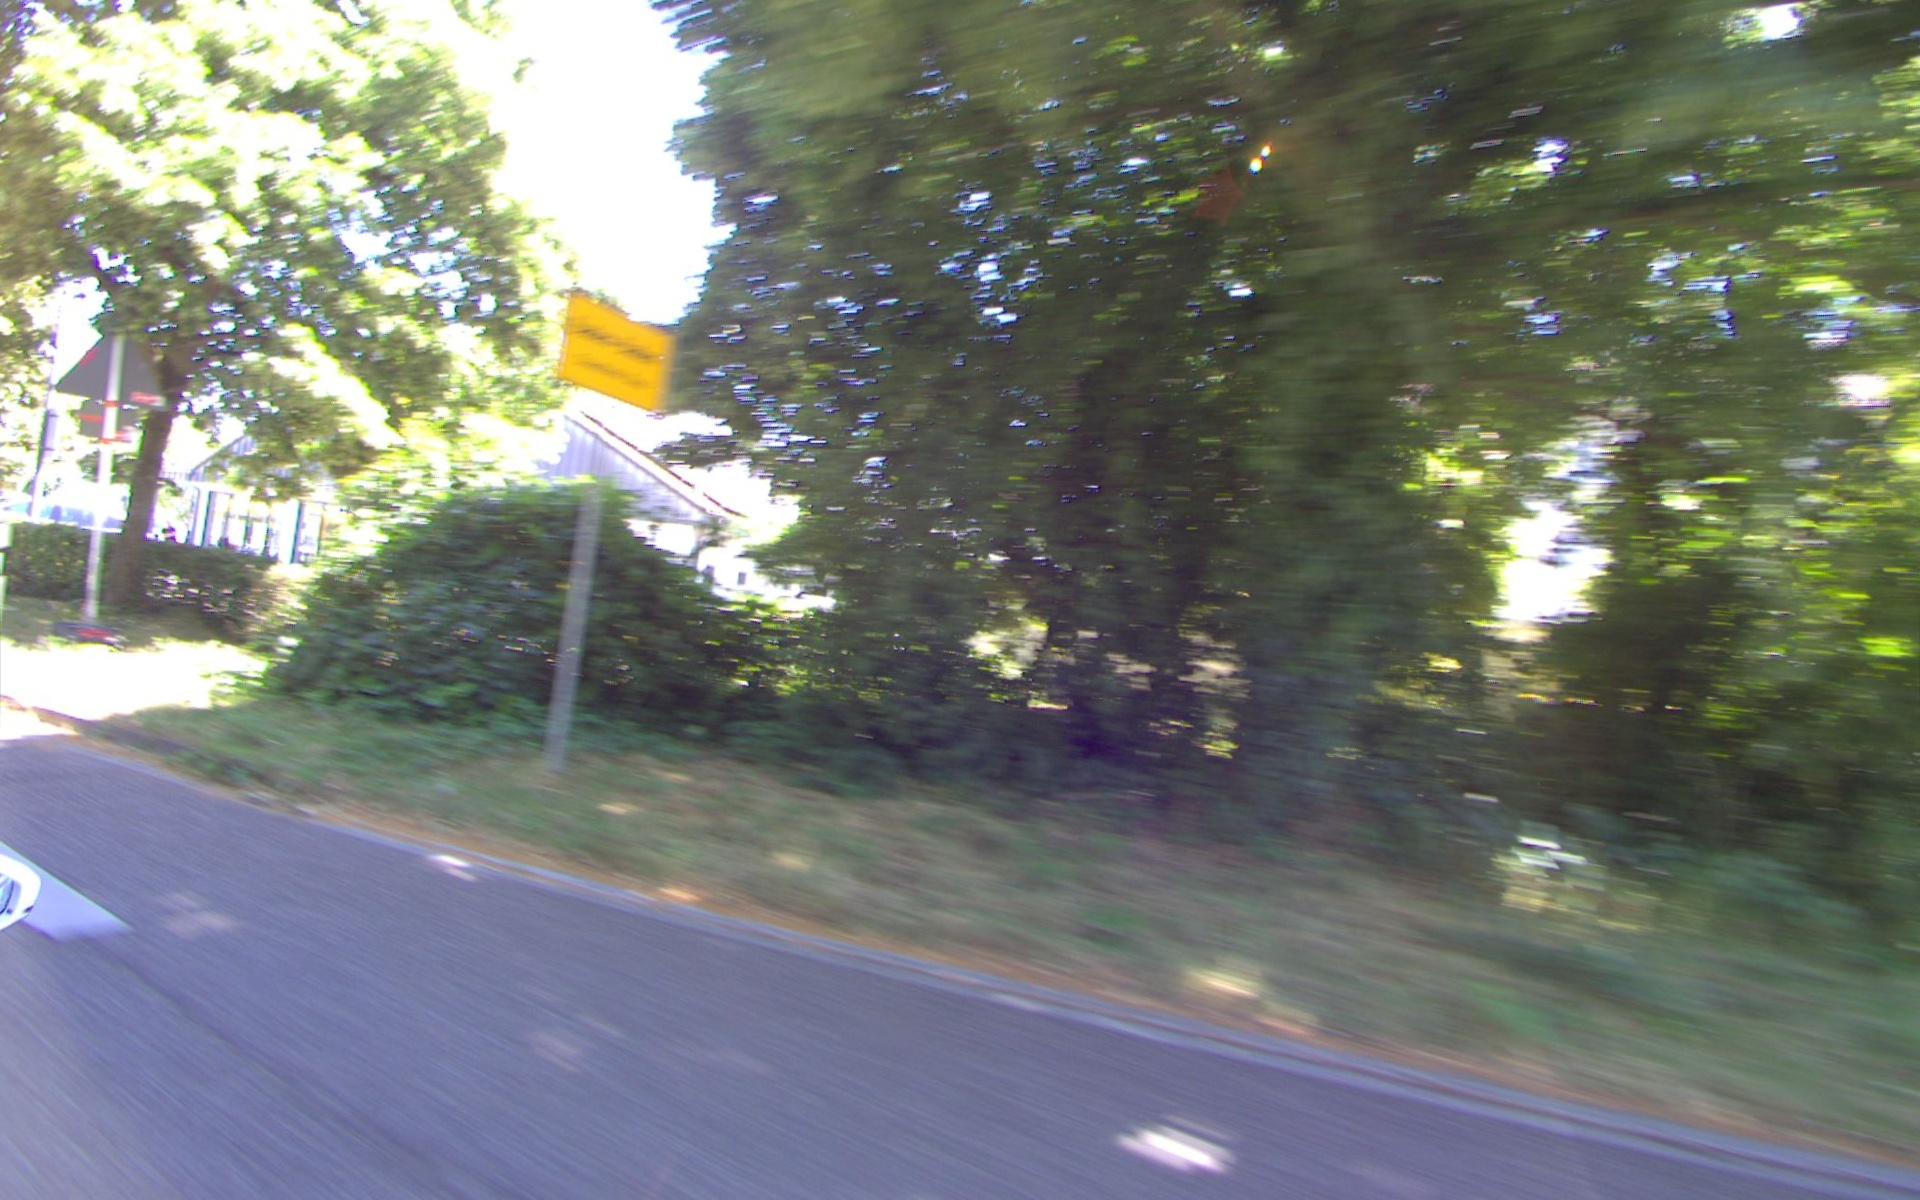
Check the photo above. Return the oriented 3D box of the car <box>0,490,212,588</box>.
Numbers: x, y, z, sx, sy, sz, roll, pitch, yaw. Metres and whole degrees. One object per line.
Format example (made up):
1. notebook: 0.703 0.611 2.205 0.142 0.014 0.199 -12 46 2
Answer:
1. car: -19.828 -1.379 22.954 1.767 1.582 3.944 6 -3 31

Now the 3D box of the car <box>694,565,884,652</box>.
1. car: -4.226 0.306 25.958 1.888 1.788 5.250 7 0 28

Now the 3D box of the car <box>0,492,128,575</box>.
1. car: -24.202 -1.811 25.716 1.822 1.747 4.025 6 -2 31
